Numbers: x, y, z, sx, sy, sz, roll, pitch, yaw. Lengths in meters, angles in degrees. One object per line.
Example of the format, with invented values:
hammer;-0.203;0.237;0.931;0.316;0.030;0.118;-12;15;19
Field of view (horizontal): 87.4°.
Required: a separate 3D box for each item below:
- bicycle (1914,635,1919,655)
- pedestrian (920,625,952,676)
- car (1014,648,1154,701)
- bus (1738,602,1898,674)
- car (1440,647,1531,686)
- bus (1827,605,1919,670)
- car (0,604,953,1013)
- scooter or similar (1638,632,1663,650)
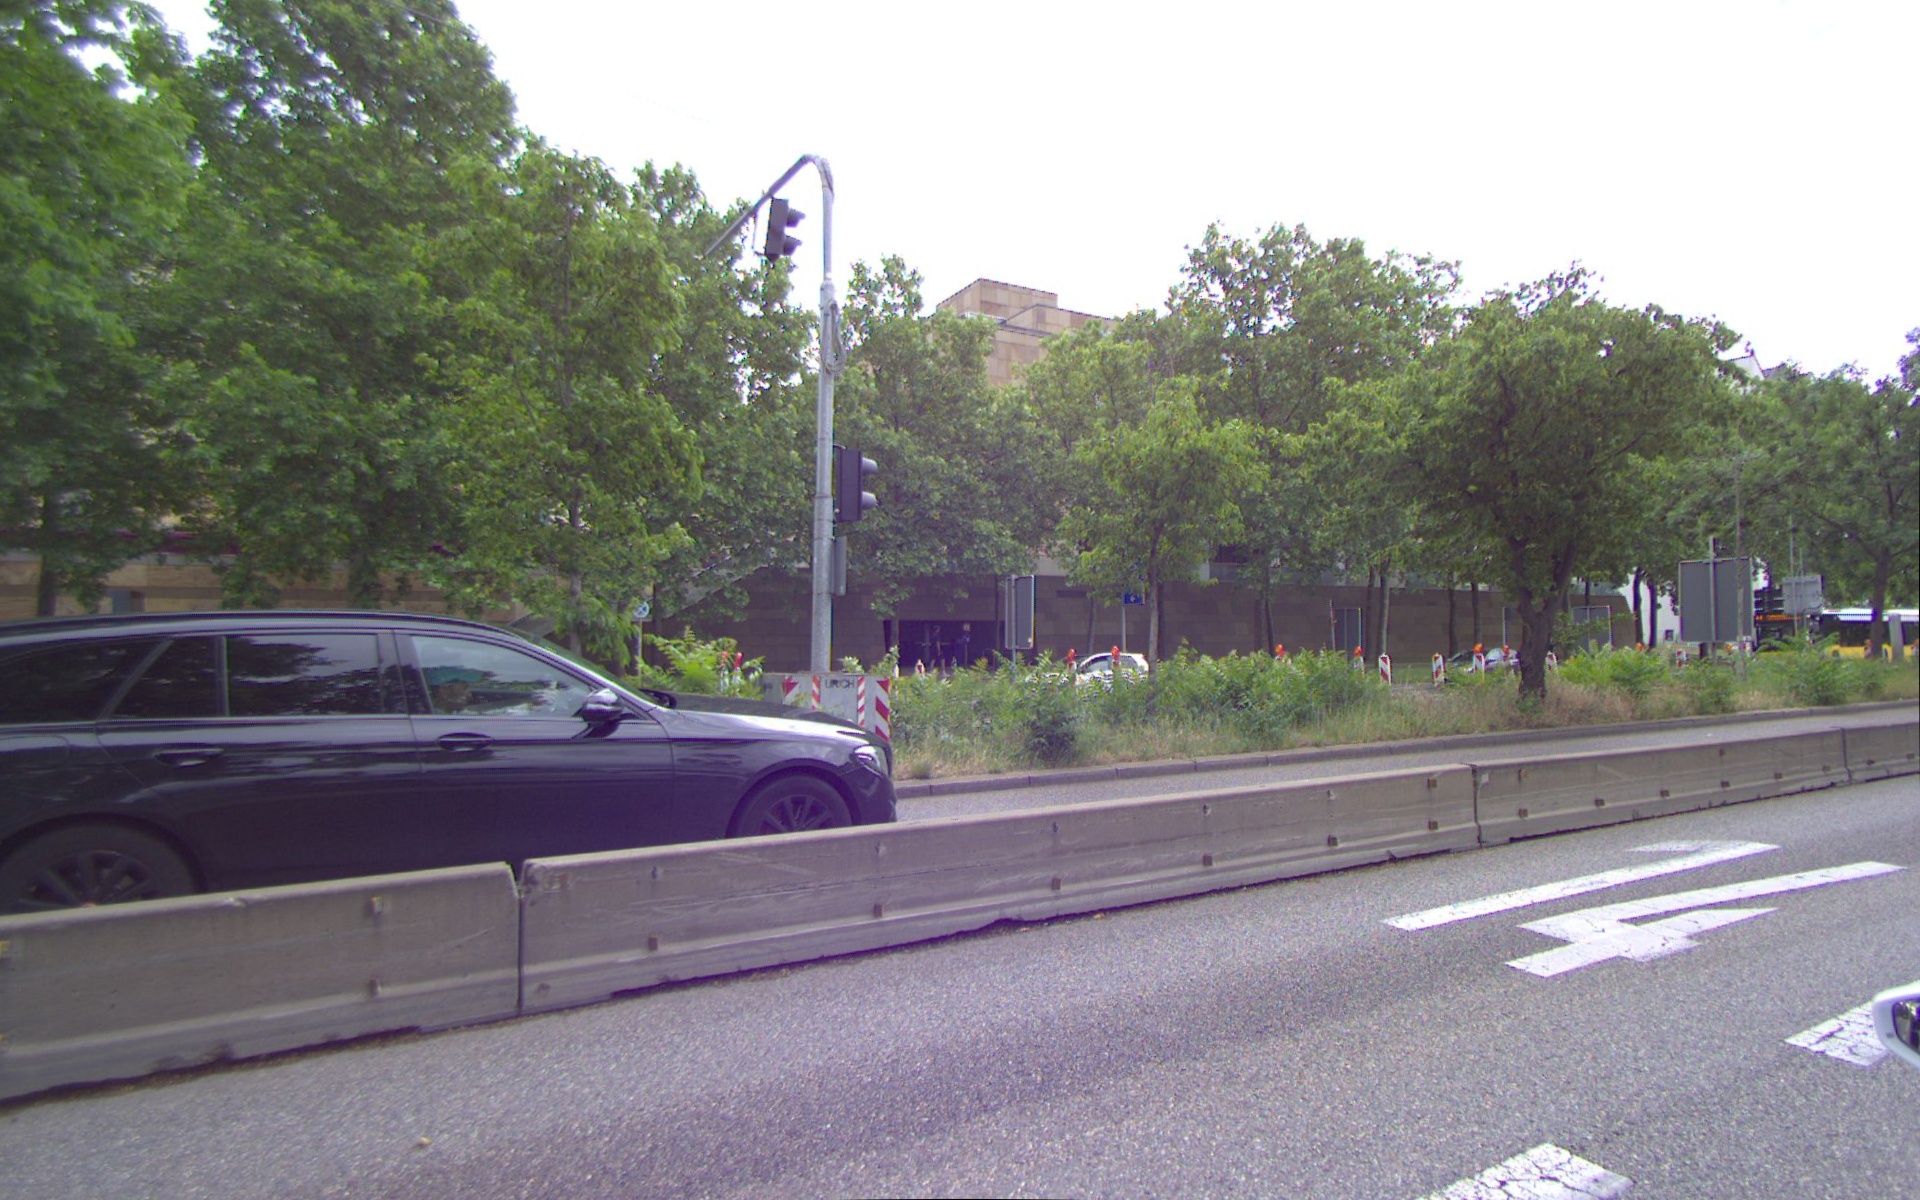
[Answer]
bicycle;82.829;3.750;84.452;1.169;1.706;3.597;1;-2;-29
pedestrian;-0.891;1.881;37.489;0.976;1.878;0.718;2;-4;-30
car;3.393;1.991;27.276;3.694;1.305;1.345;2;0;-30
bus;43.542;1.914;50.836;10.326;3.348;2.899;1;-2;-30
car;19.032;2.385;36.378;3.358;1.305;1.345;2;0;-30
bus;51.259;2.075;55.429;7.618;3.347;2.908;1;-2;-31
car;-2.588;0.831;5.275;4.802;1.479;1.805;2;0;-28
scooter or similar;51.850;3.095;75.421;0.531;1.358;1.409;1;-2;-28
